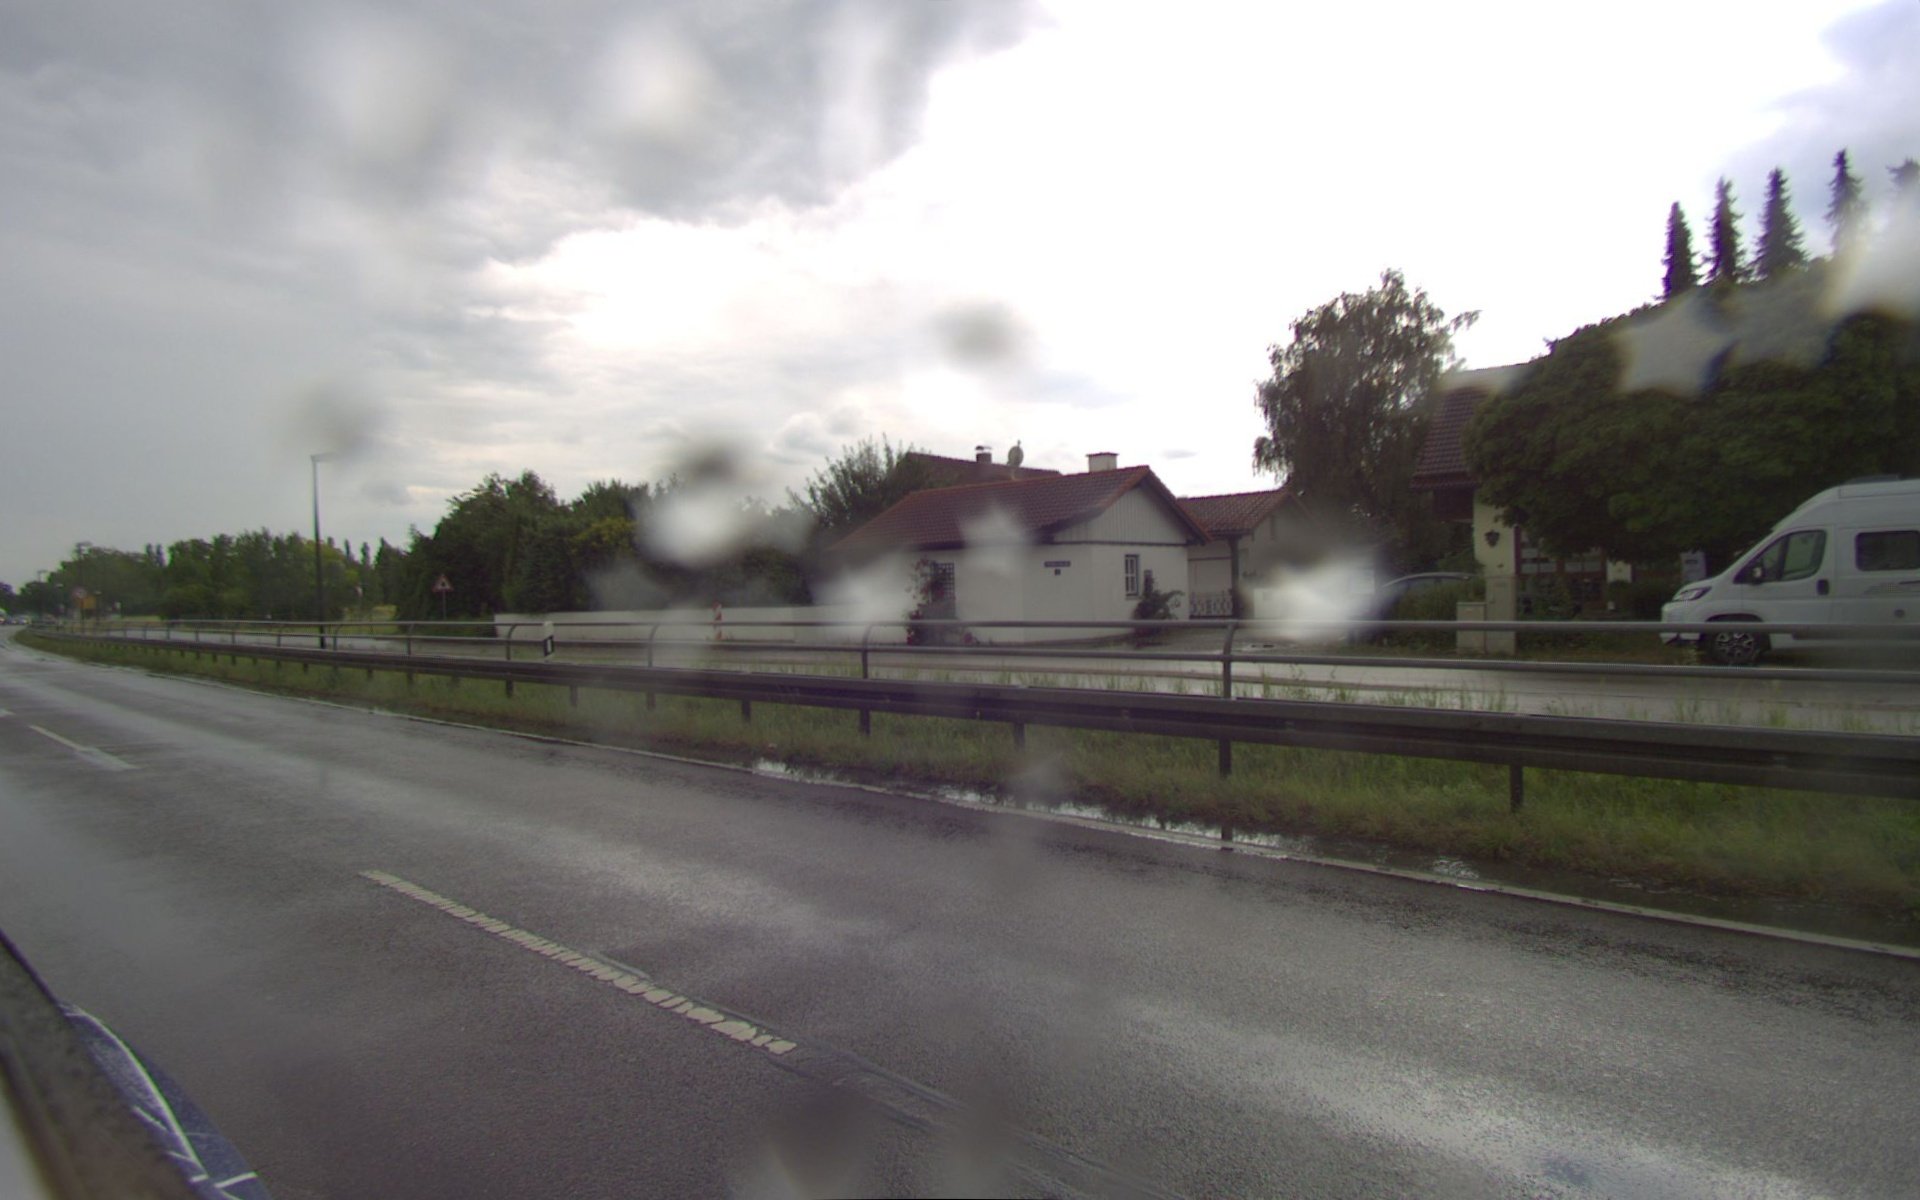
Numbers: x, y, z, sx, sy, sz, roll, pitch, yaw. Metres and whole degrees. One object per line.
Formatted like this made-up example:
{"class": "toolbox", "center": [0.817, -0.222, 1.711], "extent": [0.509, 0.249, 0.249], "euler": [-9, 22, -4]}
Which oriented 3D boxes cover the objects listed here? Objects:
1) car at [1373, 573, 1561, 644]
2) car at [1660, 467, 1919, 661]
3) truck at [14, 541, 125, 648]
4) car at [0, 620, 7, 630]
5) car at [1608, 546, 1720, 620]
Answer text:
{"class": "car", "center": [10.598, 0.180, 21.263], "extent": [3.268, 1.366, 1.434], "euler": [-1, 1, 41]}
{"class": "car", "center": [13.683, -0.526, 14.335], "extent": [6.013, 2.600, 2.215], "euler": [-2, 1, 39]}
{"class": "truck", "center": [-45.818, -0.257, 51.981], "extent": [7.780, 5.071, 3.215], "euler": [-1, 1, 42]}
{"class": "car", "center": [-178.387, 4.722, 187.896], "extent": [4.024, 1.746, 1.789], "euler": [-2, 1, 41]}
{"class": "car", "center": [17.122, -0.431, 24.707], "extent": [2.019, 1.567, 3.684], "euler": [-4, 0, 34]}
